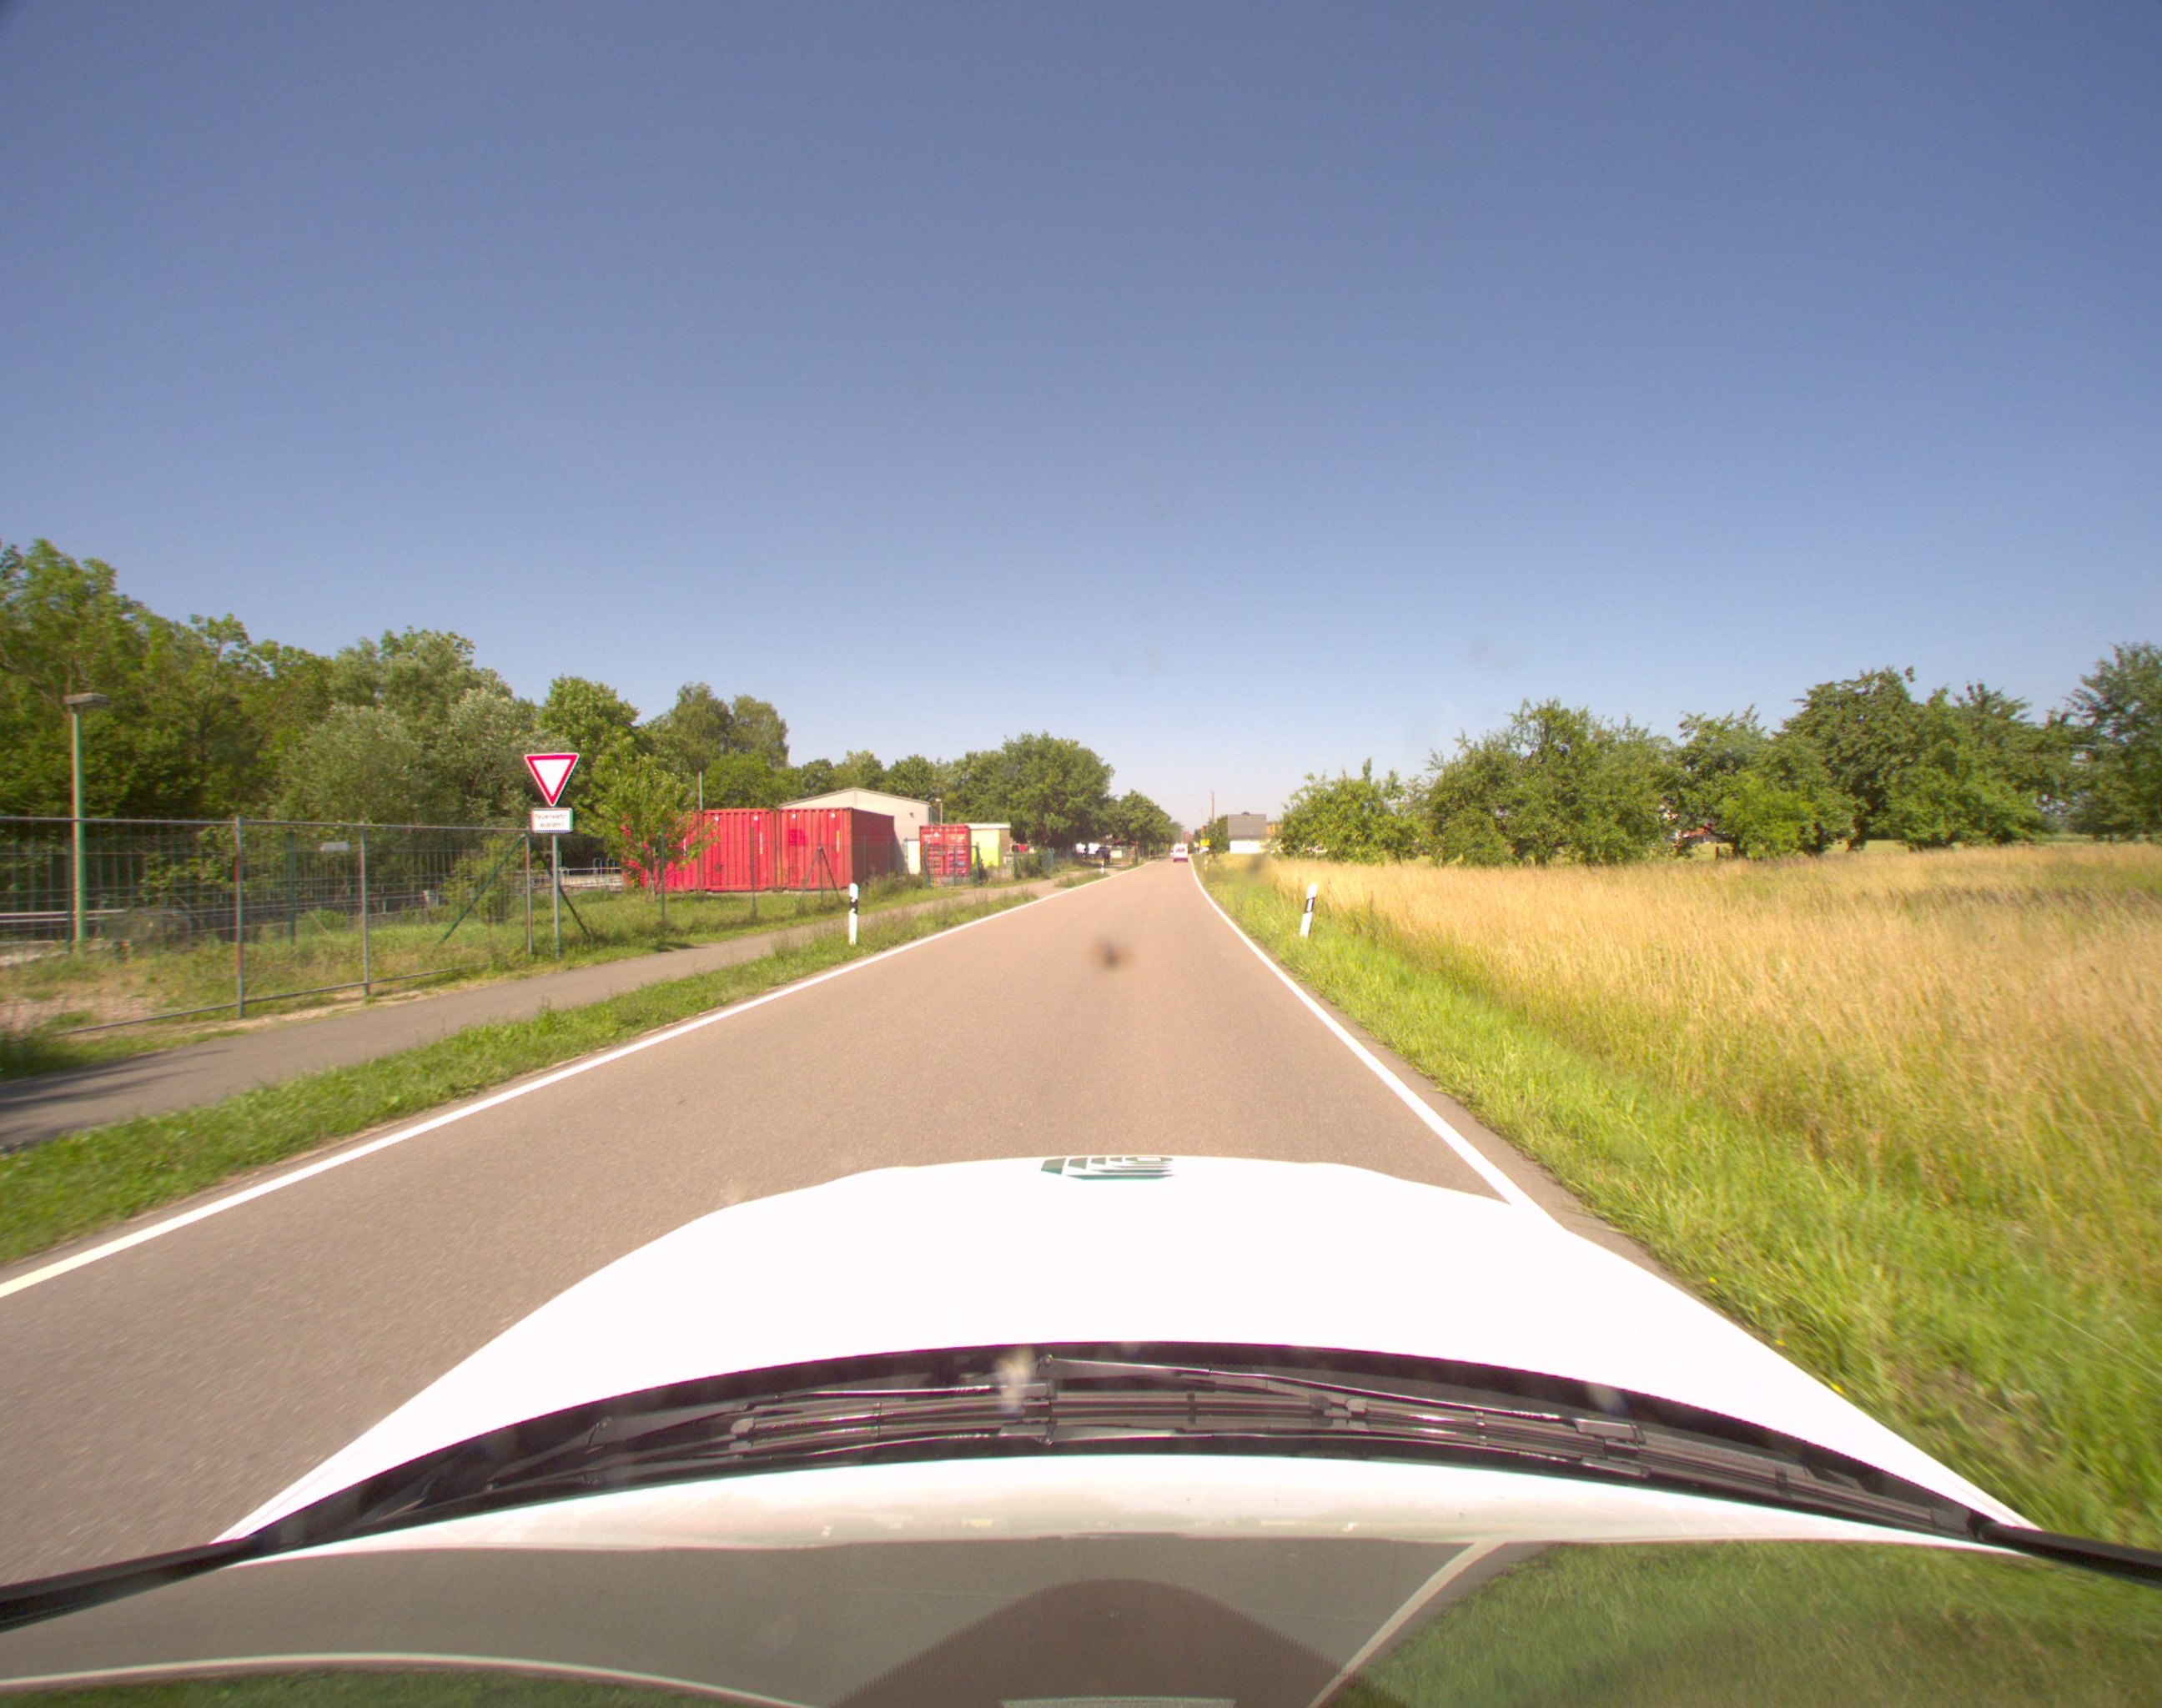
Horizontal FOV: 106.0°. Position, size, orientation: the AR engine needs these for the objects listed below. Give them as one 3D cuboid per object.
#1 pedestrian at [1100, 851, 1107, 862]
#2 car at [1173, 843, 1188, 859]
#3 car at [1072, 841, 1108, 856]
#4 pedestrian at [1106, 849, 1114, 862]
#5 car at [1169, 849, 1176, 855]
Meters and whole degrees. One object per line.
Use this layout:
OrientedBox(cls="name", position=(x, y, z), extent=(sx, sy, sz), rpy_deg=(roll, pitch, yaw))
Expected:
OrientedBox(cls="pedestrian", position=(3.132, 0.343, 111.460), extent=(0.670, 1.566, 0.723), rpy_deg=(-1, 0, 30))
OrientedBox(cls="car", position=(14.265, -0.412, 116.223), extent=(1.983, 2.266, 4.736), rpy_deg=(-1, 0, 7))
OrientedBox(cls="car", position=(1.475, -0.882, 132.568), extent=(5.632, 2.266, 1.980), rpy_deg=(-1, 0, -32))
OrientedBox(cls="pedestrian", position=(3.967, 0.211, 111.947), extent=(0.712, 1.803, 0.715), rpy_deg=(-1, 0, 31))
OrientedBox(cls="car", position=(24.229, -0.500, 215.716), extent=(1.761, 1.590, 4.008), rpy_deg=(-1, 0, 7))
